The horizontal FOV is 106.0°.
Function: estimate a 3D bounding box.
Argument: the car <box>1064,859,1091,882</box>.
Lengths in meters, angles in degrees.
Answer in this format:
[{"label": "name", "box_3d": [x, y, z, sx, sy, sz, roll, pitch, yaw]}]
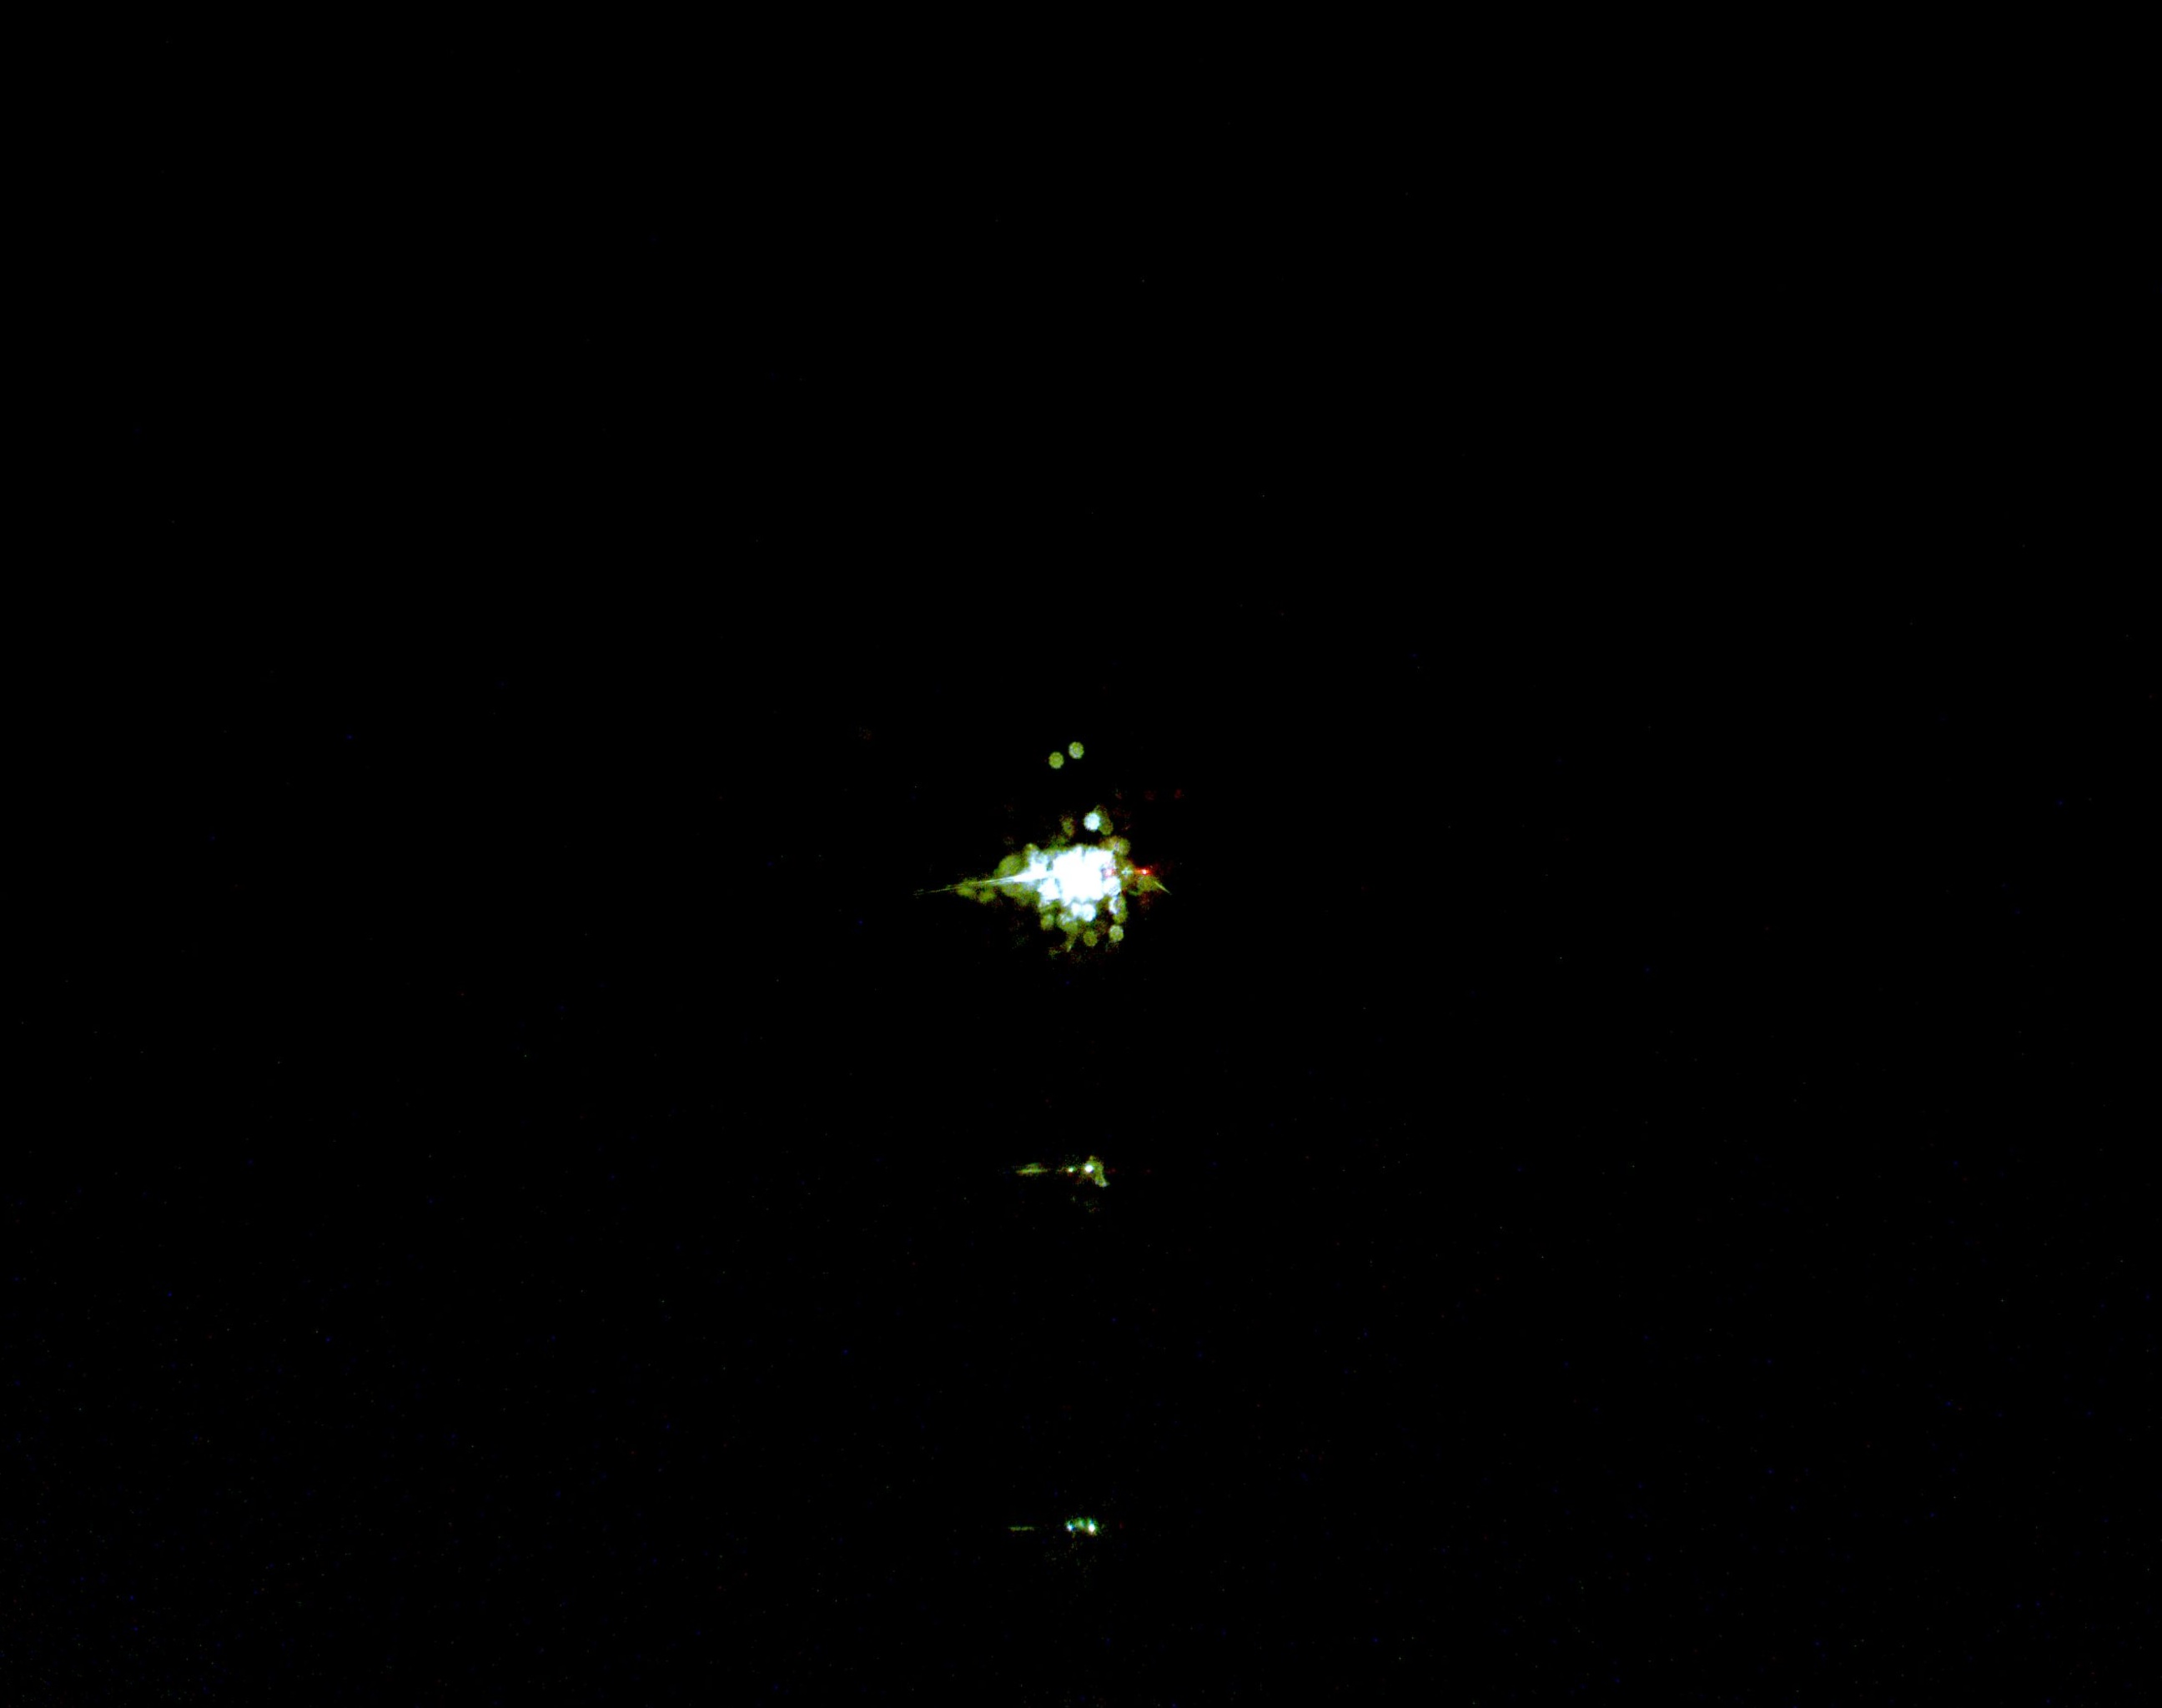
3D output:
[{"label": "car", "box_3d": [-0.254, 1.382, 67.899, 1.792, 1.579, 4.461, -7, 0, 4]}]

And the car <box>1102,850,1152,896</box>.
[{"label": "car", "box_3d": [2.026, 0.803, 36.982, 1.987, 1.806, 3.917, -4, 1, 0]}]
